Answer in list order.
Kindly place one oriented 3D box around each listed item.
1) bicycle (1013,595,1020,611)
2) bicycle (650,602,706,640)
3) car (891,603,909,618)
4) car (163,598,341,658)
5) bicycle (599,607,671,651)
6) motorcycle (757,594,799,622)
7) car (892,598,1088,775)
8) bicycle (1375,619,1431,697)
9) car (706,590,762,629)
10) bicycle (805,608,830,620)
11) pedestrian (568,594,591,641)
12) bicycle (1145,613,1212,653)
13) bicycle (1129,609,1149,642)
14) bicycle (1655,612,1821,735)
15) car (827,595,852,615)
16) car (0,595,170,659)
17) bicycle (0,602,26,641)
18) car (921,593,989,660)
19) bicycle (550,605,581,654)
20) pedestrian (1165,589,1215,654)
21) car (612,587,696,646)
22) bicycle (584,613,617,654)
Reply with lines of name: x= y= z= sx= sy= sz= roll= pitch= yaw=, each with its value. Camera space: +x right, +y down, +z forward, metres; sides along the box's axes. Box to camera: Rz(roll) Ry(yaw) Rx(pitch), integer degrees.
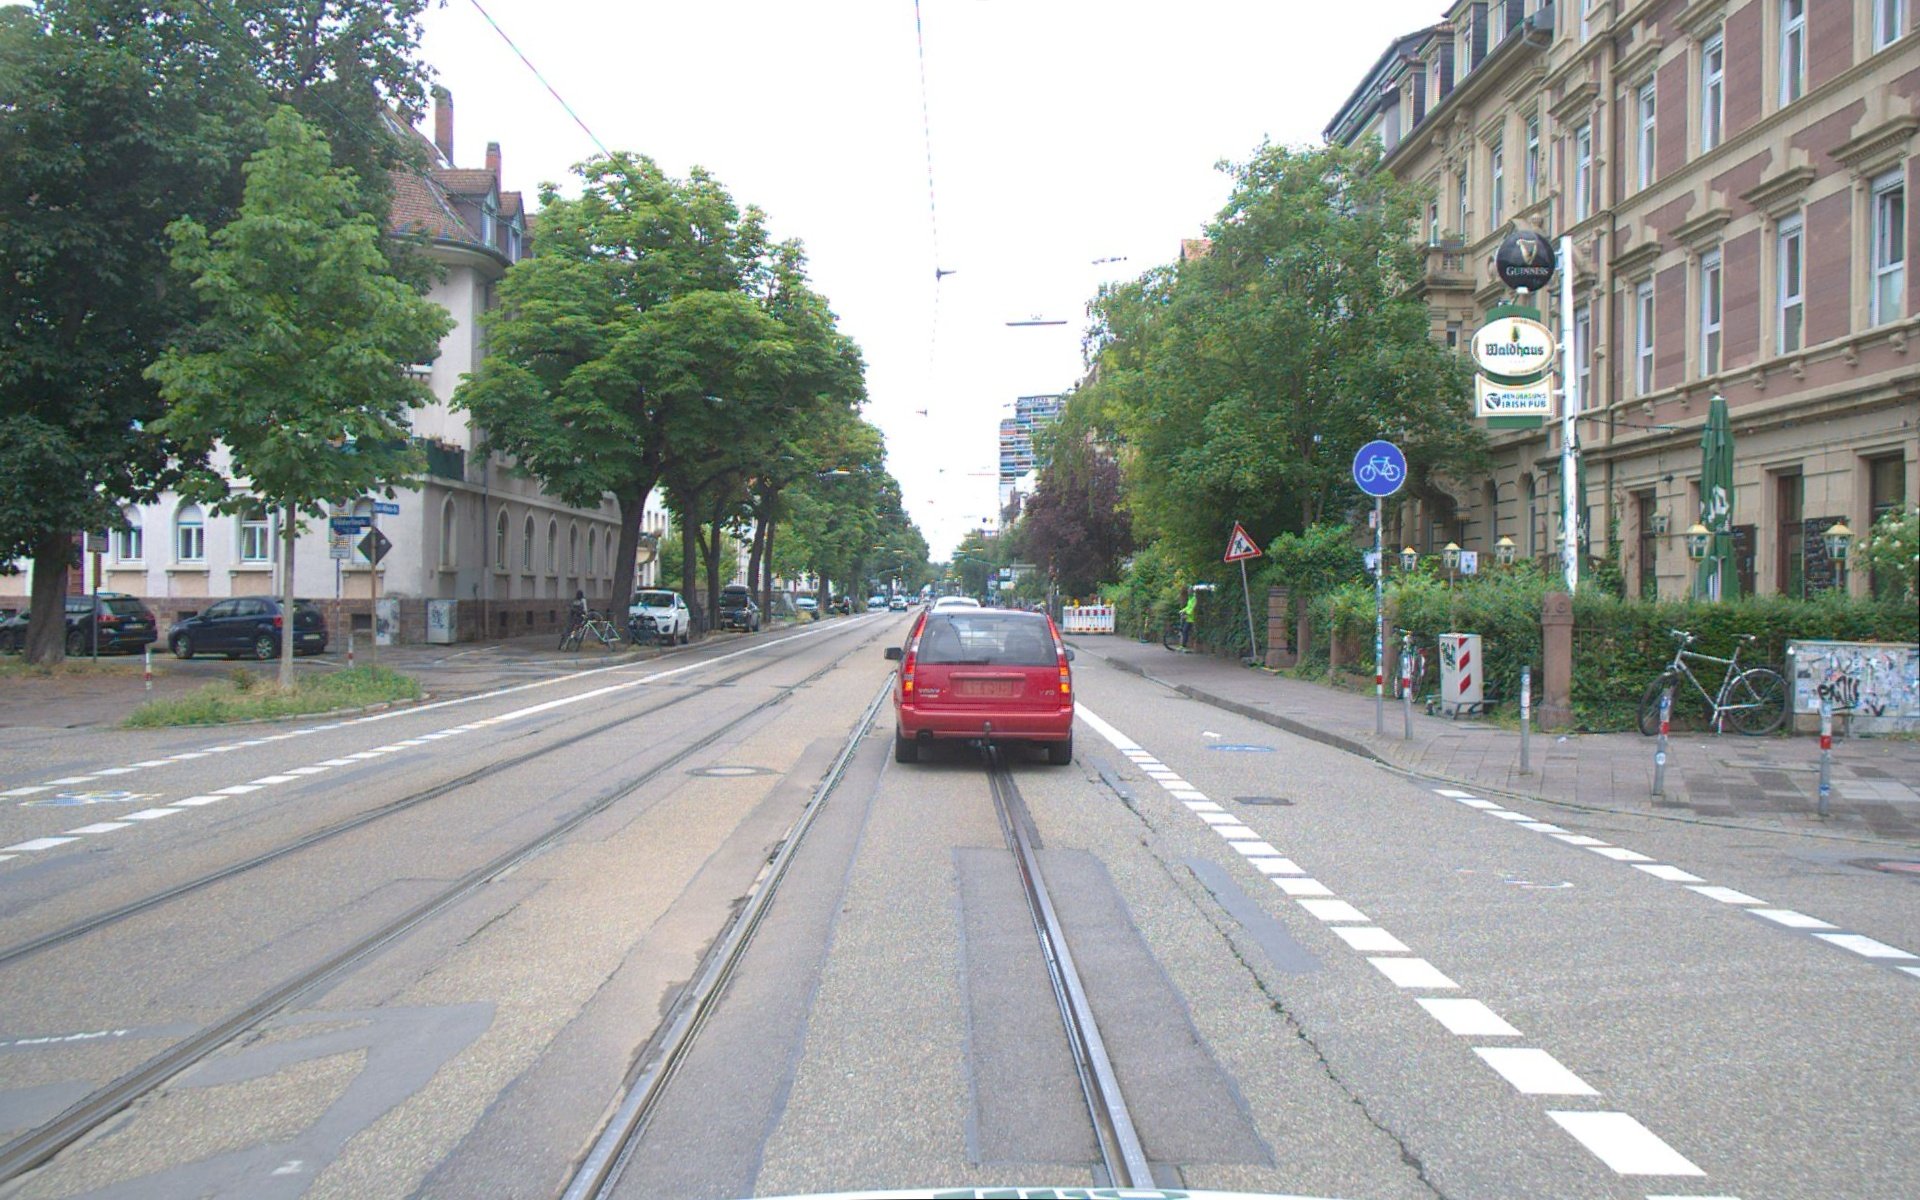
bicycle: x=5.069 y=0.225 z=147.567 sx=0.540 sy=1.424 sz=1.733 roll=1 pitch=0 yaw=0
bicycle: x=-9.567 y=0.708 z=56.043 sx=1.706 sy=1.213 sz=0.653 roll=2 pitch=0 yaw=14
car: x=-5.859 y=1.023 z=162.228 sx=1.720 sy=1.404 sz=4.025 roll=0 pitch=0 yaw=-2
car: x=-16.436 y=0.627 z=38.414 sx=3.673 sy=1.330 sz=1.741 roll=0 pitch=0 yaw=22
bicycle: x=-9.152 y=0.809 z=46.634 sx=1.883 sy=1.140 sz=0.624 roll=2 pitch=0 yaw=-1
motorcycle: x=-10.092 y=0.430 z=91.536 sx=2.225 sy=1.538 sz=0.924 roll=0 pitch=-2 yaw=35
car: x=0.234 y=0.741 z=16.129 sx=1.655 sy=1.466 sz=3.742 roll=2 pitch=0 yaw=-1
bicycle: x=6.401 y=0.819 z=23.962 sx=0.295 sy=1.060 sz=1.848 roll=1 pitch=0 yaw=-1
car: x=-9.449 y=0.394 z=69.476 sx=1.741 sy=1.537 sz=4.237 roll=1 pitch=0 yaw=0
bicycle: x=-10.480 y=1.023 z=121.769 sx=1.713 sy=0.858 sz=0.684 roll=1 pitch=0 yaw=0
pedestrian: x=-12.124 y=0.563 z=52.688 sx=0.553 sy=1.493 sz=0.722 roll=0 pitch=0 yaw=-1
bicycle: x=6.112 y=0.914 z=46.324 sx=1.804 sy=1.094 sz=0.606 roll=0 pitch=0 yaw=-2
bicycle: x=5.938 y=0.842 z=54.849 sx=0.469 sy=1.063 sz=1.531 roll=0 pitch=0 yaw=0
bicycle: x=8.540 y=0.791 z=18.201 sx=1.570 sy=1.299 sz=0.513 roll=1 pitch=0 yaw=11
car: x=-9.917 y=0.377 z=136.569 sx=1.813 sy=1.590 sz=3.942 roll=1 pitch=0 yaw=-1
car: x=-21.621 y=0.643 z=40.803 sx=3.852 sy=1.489 sz=1.706 roll=1 pitch=0 yaw=22
bicycle: x=-27.445 y=0.597 z=46.832 sx=2.141 sy=1.053 sz=0.653 roll=1 pitch=0 yaw=26
car: x=-0.095 y=0.673 z=43.850 sx=1.683 sy=1.653 sz=3.941 roll=1 pitch=0 yaw=1
bicycle: x=-9.991 y=0.723 z=41.853 sx=0.664 sy=1.155 sz=1.927 roll=0 pitch=1 yaw=-17
pedestrian: x=6.339 y=0.595 z=45.668 sx=1.204 sy=1.763 sz=1.018 roll=0 pitch=0 yaw=-2
car: x=-9.311 y=0.484 z=50.616 sx=1.859 sy=1.684 sz=4.224 roll=1 pitch=0 yaw=-2
bicycle: x=-8.953 y=0.830 z=41.263 sx=0.473 sy=0.975 sz=1.398 roll=0 pitch=0 yaw=1
